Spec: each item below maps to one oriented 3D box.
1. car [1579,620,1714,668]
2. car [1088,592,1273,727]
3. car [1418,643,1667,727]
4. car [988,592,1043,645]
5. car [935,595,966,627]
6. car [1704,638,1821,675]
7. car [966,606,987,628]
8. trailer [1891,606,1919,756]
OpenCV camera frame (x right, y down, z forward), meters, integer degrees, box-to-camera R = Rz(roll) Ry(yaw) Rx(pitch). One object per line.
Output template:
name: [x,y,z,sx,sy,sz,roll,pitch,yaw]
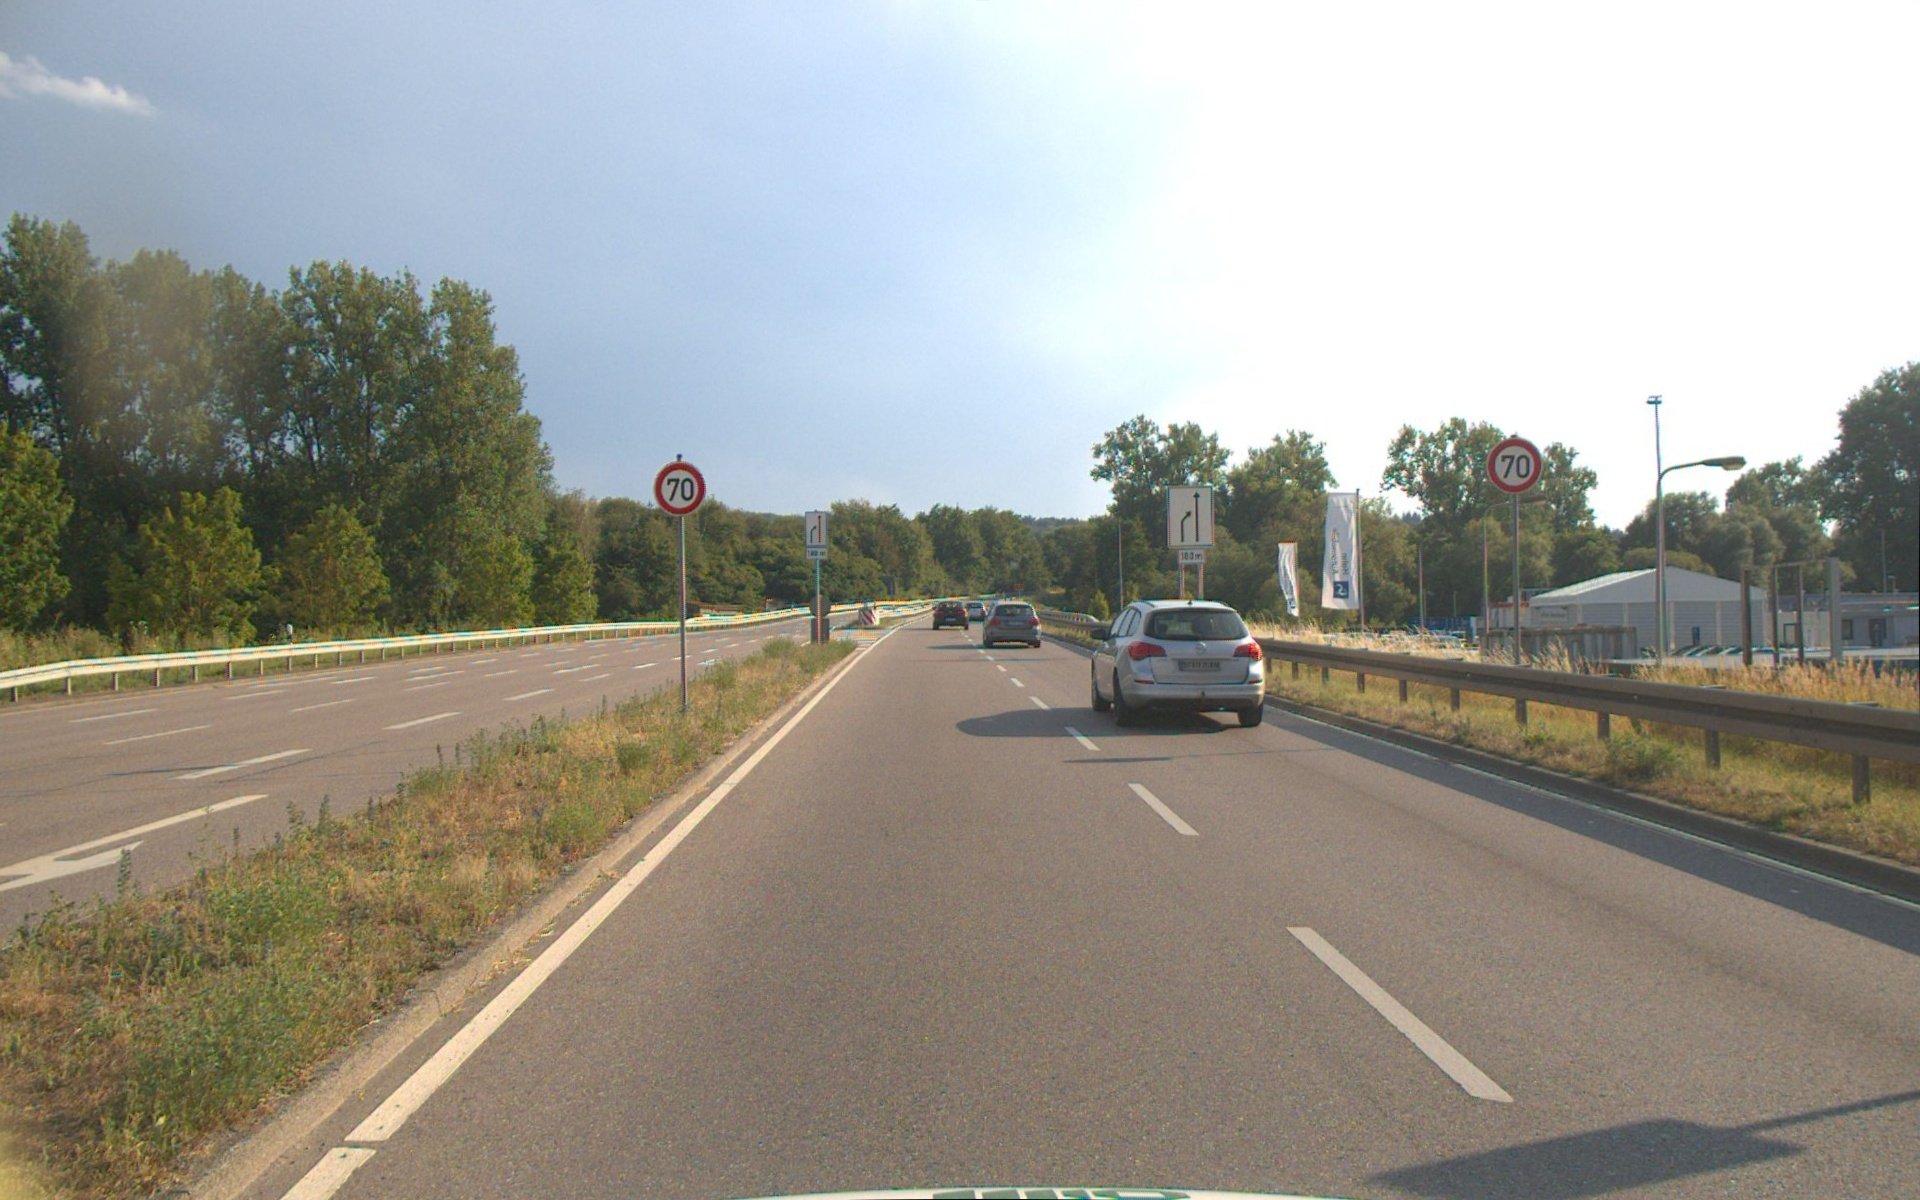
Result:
car: [25.494,1.648,61.531,4.324,1.744,1.802,0,-1,7]
car: [2.662,0.706,20.764,1.772,1.512,3.999,1,-1,0]
car: [15.010,2.173,42.861,5.759,2.049,2.000,1,-1,2]
car: [1.741,0.601,52.561,1.633,1.601,4.000,1,-1,1]
car: [-0.457,0.561,80.732,1.462,1.502,3.358,1,-1,1]
car: [35.530,2.495,73.339,4.324,1.570,1.802,0,-1,7]
car: [1.133,1.167,114.530,1.462,1.502,3.358,1,-1,1]
trailer: [25.526,1.865,36.800,7.714,3.381,3.360,1,-1,4]
